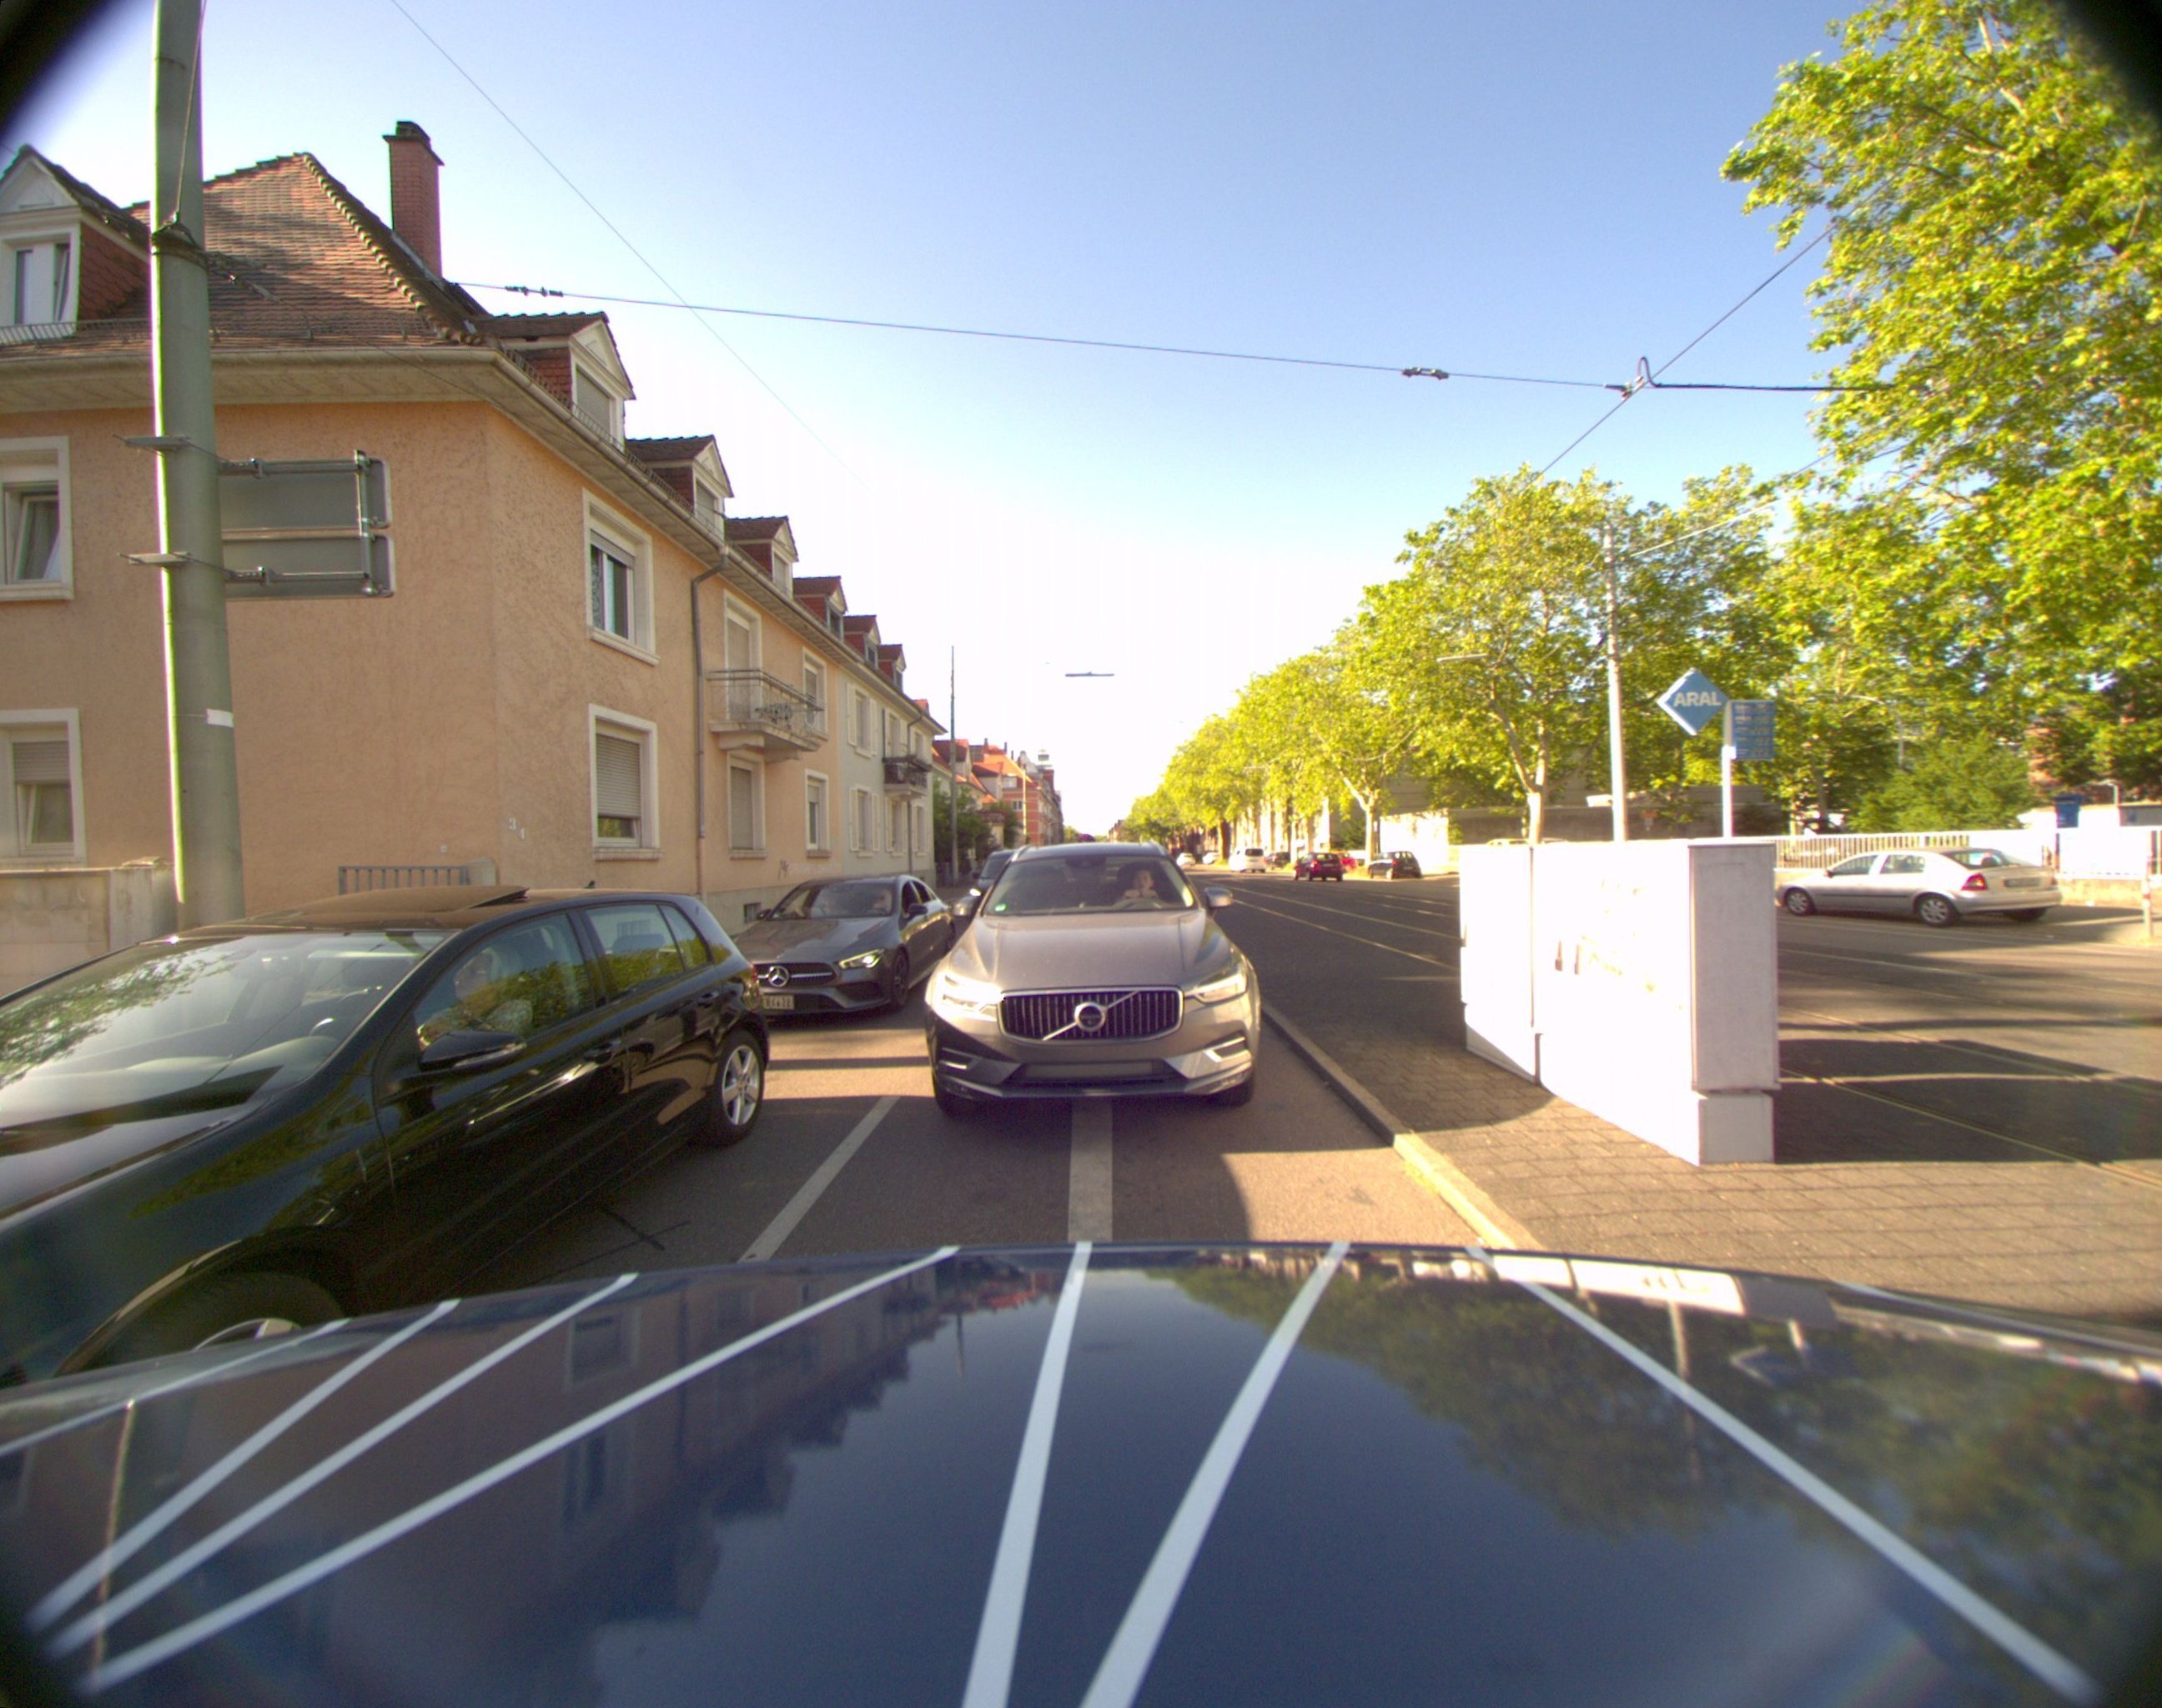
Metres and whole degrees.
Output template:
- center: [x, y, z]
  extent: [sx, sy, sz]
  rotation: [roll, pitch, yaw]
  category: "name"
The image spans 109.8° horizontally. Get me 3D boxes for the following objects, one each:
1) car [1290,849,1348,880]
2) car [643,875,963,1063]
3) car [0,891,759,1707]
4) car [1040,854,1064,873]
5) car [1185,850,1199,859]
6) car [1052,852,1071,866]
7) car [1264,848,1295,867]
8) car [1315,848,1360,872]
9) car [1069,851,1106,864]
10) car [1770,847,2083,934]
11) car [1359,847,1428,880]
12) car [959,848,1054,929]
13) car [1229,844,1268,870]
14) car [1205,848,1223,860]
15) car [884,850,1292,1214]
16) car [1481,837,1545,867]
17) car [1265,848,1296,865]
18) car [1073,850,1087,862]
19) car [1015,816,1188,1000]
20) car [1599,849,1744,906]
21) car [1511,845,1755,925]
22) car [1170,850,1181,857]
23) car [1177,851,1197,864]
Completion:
- center: [11.921, 0.496, 38.335]
  extent: [1.700, 1.412, 3.999]
  rotation: [-2, 1, 1]
  category: "car"
- center: [-2.784, 1.069, 8.894]
  extent: [1.911, 1.411, 4.492]
  rotation: [-2, 1, 2]
  category: "car"
- center: [-2.898, 0.968, 2.651]
  extent: [1.733, 1.499, 4.051]
  rotation: [-2, -1, 1]
  category: "car"
- center: [-2.526, 0.802, 66.999]
  extent: [1.841, 1.449, 3.999]
  rotation: [-2, 1, 1]
  category: "car"
- center: [18.340, 0.023, 125.560]
  extent: [1.700, 1.401, 3.999]
  rotation: [-1, 1, 1]
  category: "car"
- center: [-2.177, 0.583, 85.437]
  extent: [1.841, 1.449, 3.999]
  rotation: [-2, 1, 1]
  category: "car"
- center: [17.173, 0.320, 65.994]
  extent: [1.700, 1.566, 3.999]
  rotation: [-1, 1, 1]
  category: "car"
- center: [16.930, 0.376, 50.377]
  extent: [1.700, 1.460, 3.999]
  rotation: [-1, 1, 1]
  category: "car"
- center: [0.805, 0.410, 90.635]
  extent: [3.989, 1.449, 1.846]
  rotation: [-2, 1, 33]
  category: "car"
- center: [16.240, 0.603, 14.965]
  extent: [1.731, 1.412, 3.999]
  rotation: [-2, 1, 1]
  category: "car"
- center: [16.845, 0.454, 41.175]
  extent: [1.753, 1.514, 4.434]
  rotation: [-5, 1, -1]
  category: "car"
- center: [-1.797, 0.772, 19.866]
  extent: [1.866, 1.794, 4.778]
  rotation: [-2, 1, 1]
  category: "car"
- center: [12.381, 0.212, 56.434]
  extent: [1.850, 1.835, 4.394]
  rotation: [-1, 1, -1]
  category: "car"
- center: [17.670, 0.008, 100.783]
  extent: [1.700, 1.548, 3.999]
  rotation: [-1, 1, 1]
  category: "car"
- center: [0.041, 0.853, 6.056]
  extent: [1.912, 1.666, 4.763]
  rotation: [-2, 1, 0]
  category: "car"
- center: [21.722, -0.112, 38.312]
  extent: [1.545, 1.412, 3.151]
  rotation: [-2, 1, 4]
  category: "car"
- center: [17.290, 0.227, 65.913]
  extent: [1.700, 1.401, 3.999]
  rotation: [-1, 1, 1]
  category: "car"
- center: [-0.152, 0.270, 106.489]
  extent: [1.841, 1.449, 3.999]
  rotation: [-2, 1, 1]
  category: "car"
- center: [0.241, 0.596, 11.123]
  extent: [1.912, 2.048, 4.763]
  rotation: [-2, 1, 0]
  category: "car"
- center: [16.387, 0.606, 21.281]
  extent: [1.546, 1.412, 3.254]
  rotation: [-2, 1, 1]
  category: "car"
- center: [11.839, 0.568, 16.824]
  extent: [1.912, 1.514, 4.763]
  rotation: [0, 1, 0]
  category: "car"
- center: [18.597, -0.075, 149.565]
  extent: [1.700, 1.401, 3.999]
  rotation: [-1, 1, 1]
  category: "car"
- center: [12.772, 0.407, 91.683]
  extent: [1.764, 1.487, 3.999]
  rotation: [-2, 1, 1]
  category: "car"
